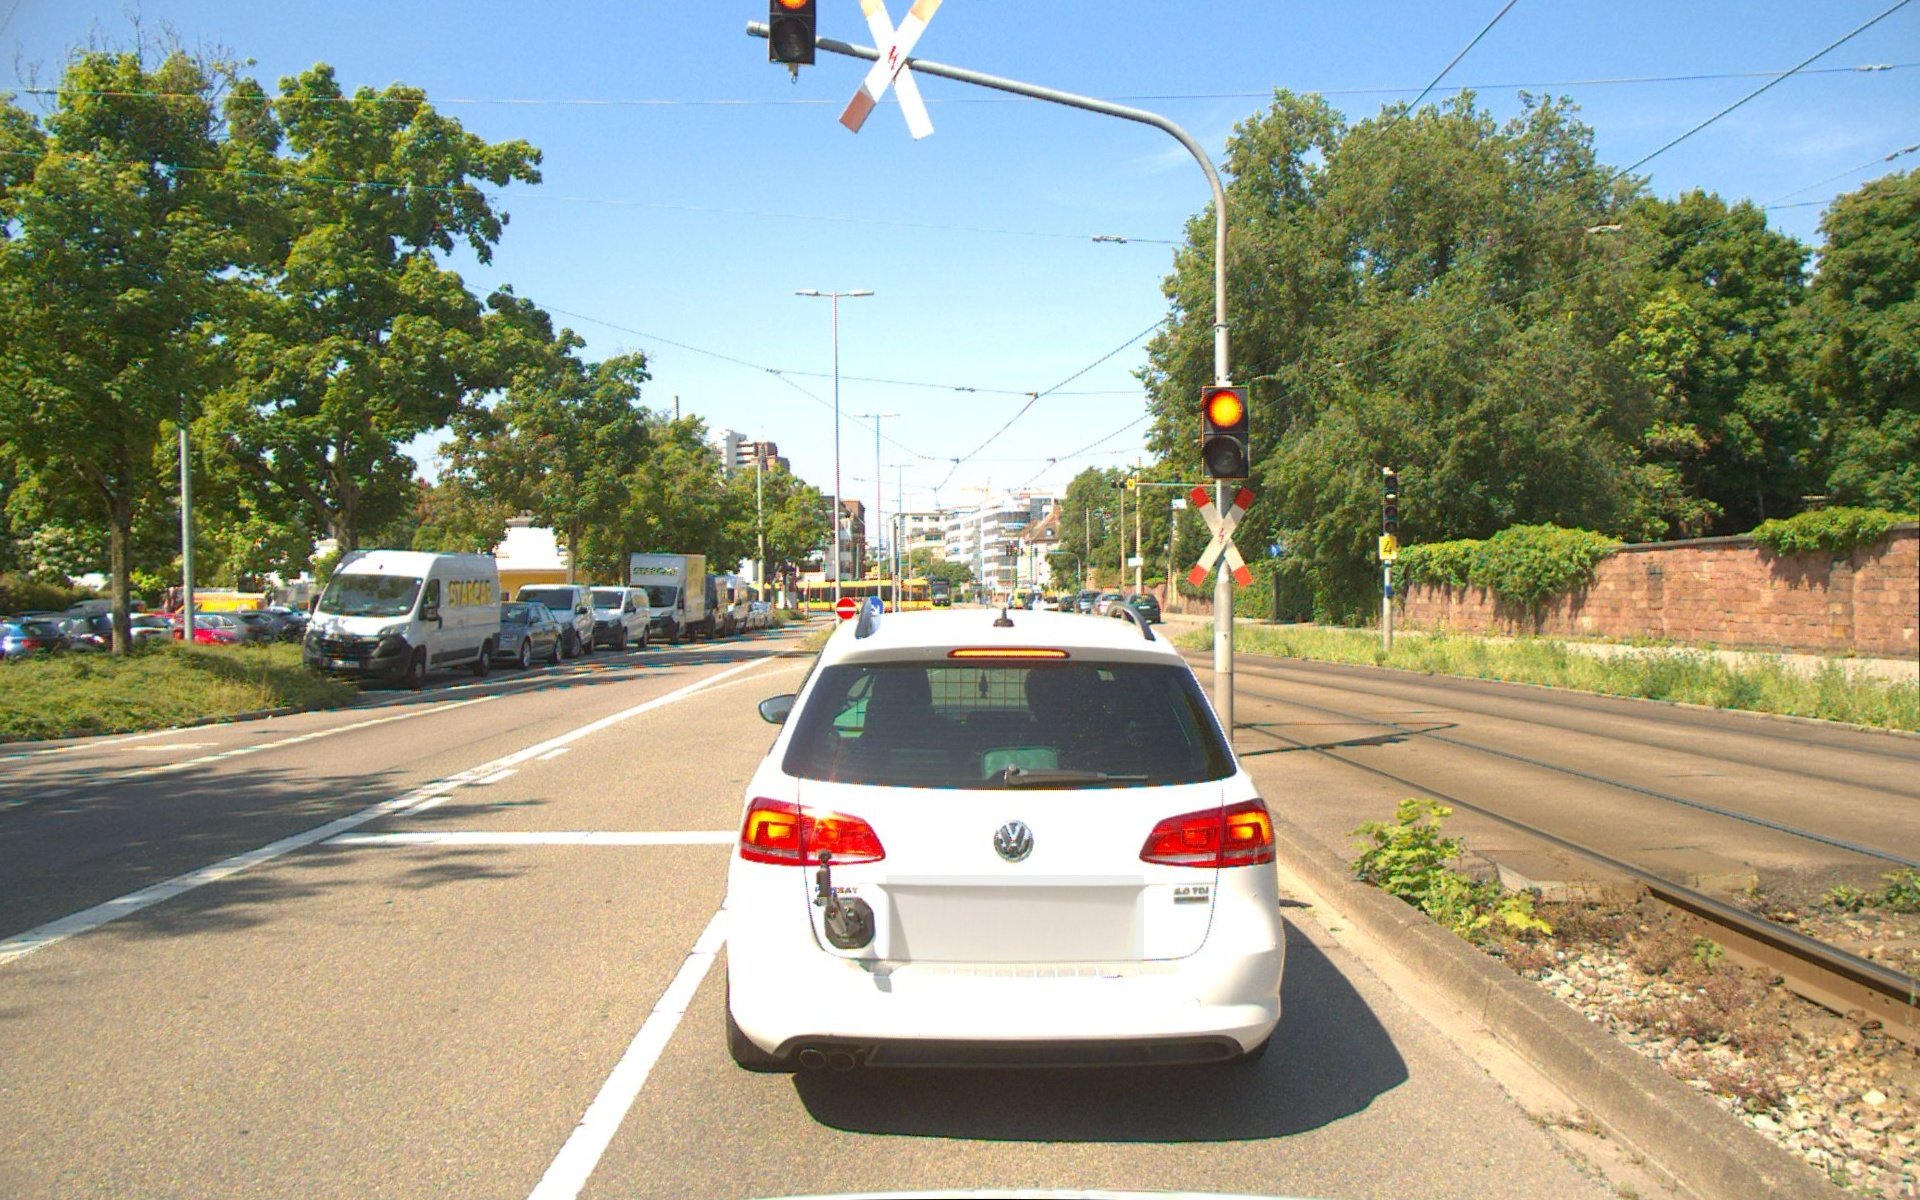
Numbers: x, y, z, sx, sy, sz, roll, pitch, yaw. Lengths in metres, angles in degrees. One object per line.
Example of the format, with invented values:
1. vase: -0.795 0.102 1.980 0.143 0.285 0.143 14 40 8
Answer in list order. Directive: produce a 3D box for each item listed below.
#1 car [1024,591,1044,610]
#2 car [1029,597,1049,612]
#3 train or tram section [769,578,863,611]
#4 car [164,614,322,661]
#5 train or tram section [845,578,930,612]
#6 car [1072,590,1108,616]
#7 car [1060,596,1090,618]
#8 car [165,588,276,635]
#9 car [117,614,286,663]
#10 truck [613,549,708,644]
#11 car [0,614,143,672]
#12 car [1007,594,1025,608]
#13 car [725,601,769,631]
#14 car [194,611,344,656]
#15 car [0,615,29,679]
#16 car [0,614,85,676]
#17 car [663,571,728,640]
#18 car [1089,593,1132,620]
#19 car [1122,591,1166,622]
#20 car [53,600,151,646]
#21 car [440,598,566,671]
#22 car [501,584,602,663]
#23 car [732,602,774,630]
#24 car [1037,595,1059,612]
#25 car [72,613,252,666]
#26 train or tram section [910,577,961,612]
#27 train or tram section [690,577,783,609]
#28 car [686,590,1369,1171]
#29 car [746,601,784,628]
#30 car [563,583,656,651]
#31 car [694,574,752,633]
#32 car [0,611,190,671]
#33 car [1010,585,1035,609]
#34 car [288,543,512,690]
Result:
1. car: 7.256 0.069 162.644 1.657 1.844 3.453 1 -1 -1
2. car: 7.245 0.420 151.484 1.549 1.370 3.453 1 -1 -1
3. train or tram section: -15.335 -0.626 175.271 10.576 3.310 2.303 1 -1 32
4. car: -21.283 1.096 49.204 3.904 1.246 1.772 -1 0 2
5. train or tram section: -7.466 -0.523 168.803 2.290 3.309 10.635 2 -1 -43
6. car: 8.270 0.173 105.535 1.824 1.539 3.911 1 0 -2
7. car: 8.226 0.489 118.478 1.711 1.432 3.911 1 0 -2
8. car: -34.158 0.534 76.490 4.175 2.049 1.997 1 -1 -7
9. car: -21.340 1.069 46.603 3.904 1.246 1.772 -1 0 2
10. truck: -10.794 -0.140 60.136 2.309 3.177 6.889 -1 0 -2
11. car: -21.606 1.011 38.889 3.904 1.246 1.772 -1 0 2
12. car: 6.664 0.125 197.872 1.953 1.624 3.999 1 -1 0
13. car: -10.954 0.800 85.276 1.806 1.458 4.037 -1 0 -1
14. car: -21.470 1.036 51.464 3.904 1.246 1.772 -1 0 2
15. car: -20.965 0.983 32.842 3.907 1.246 1.770 -1 0 -3
16. car: -21.290 0.986 35.655 3.904 1.246 1.772 -1 0 2
17. car: -10.818 0.201 67.943 1.806 2.715 5.003 -1 0 0
18. car: 8.329 0.331 91.820 1.824 1.441 4.323 1 0 -2
19. car: 8.599 0.296 77.727 1.710 1.412 3.914 1 0 1
20. car: -36.983 0.983 71.353 3.354 1.909 1.552 -1 0 -3
21. car: -10.559 0.750 38.520 1.806 1.543 4.196 -1 0 -1
22. car: -11.075 0.597 45.146 1.807 1.971 5.189 -1 0 -5
23. car: -11.396 0.856 91.165 1.806 1.458 4.037 -1 0 -1
24. car: 7.314 0.309 138.013 1.549 1.370 3.453 1 -1 -1
25. car: -21.146 1.037 43.910 3.904 1.286 1.772 -1 0 2
26. train or tram section: -2.466 -0.492 160.403 2.263 3.309 11.230 1 -1 -15
27. train or tram section: -24.415 -0.765 180.394 10.563 3.310 2.306 1 -1 27
28. car: 0.125 0.714 6.205 1.732 1.471 3.912 1 0 -2
29. car: -11.344 0.817 96.412 1.744 1.458 4.037 -1 0 -1
30. car: -10.886 0.490 51.767 1.806 1.995 5.133 -1 0 0
31. car: -10.798 0.141 75.751 1.806 2.538 5.856 -1 0 0
32. car: -21.704 1.021 41.516 3.904 1.373 1.772 -1 0 2
33. car: 6.867 -0.302 183.105 2.413 2.542 5.908 1 -1 -1
34. car: -10.752 0.273 32.372 2.016 2.544 6.309 2 0 2
